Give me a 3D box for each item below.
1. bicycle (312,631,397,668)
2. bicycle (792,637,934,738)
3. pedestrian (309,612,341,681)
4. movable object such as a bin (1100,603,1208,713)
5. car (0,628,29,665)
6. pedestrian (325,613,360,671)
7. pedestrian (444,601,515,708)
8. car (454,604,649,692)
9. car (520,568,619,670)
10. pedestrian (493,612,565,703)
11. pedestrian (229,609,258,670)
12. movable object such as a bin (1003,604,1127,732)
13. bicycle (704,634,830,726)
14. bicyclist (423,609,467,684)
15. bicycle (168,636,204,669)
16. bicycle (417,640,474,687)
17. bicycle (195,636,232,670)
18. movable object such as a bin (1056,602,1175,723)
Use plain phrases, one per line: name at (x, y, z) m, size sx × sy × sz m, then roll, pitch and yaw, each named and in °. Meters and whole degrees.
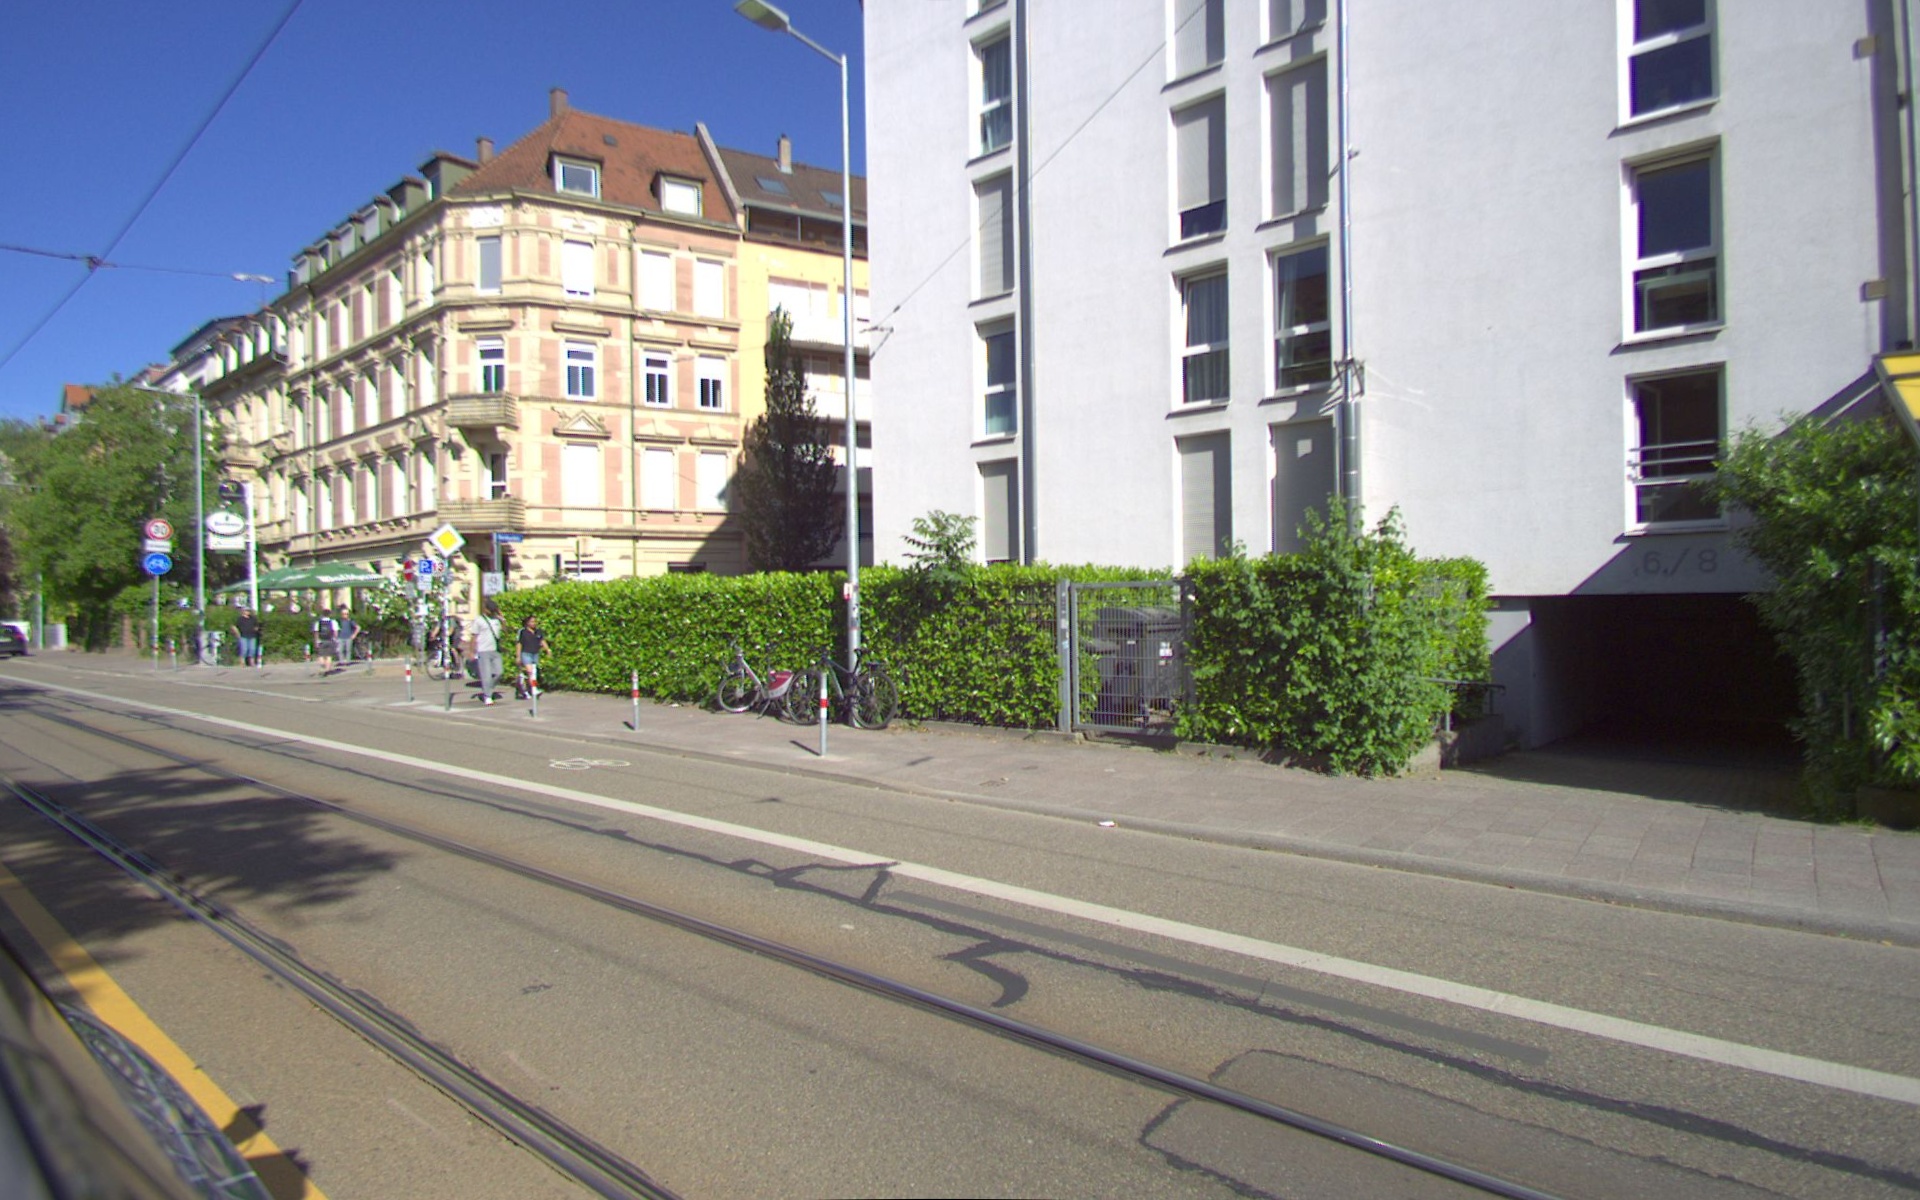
bicycle at (-19.265, 1.559, 32.233) m, size 2.212 × 1.052 × 0.877 m, roll -1°, pitch 1°, yaw -41°
bicycle at (-1.247, 1.061, 12.744) m, size 1.839 × 1.097 × 0.655 m, roll 0°, pitch 3°, yaw 41°
pedestrian at (-16.770, 1.209, 26.737) m, size 0.682 × 1.781 × 0.868 m, roll -1°, pitch -1°, yaw -33°
movable object such as a bin at (2.721, 0.787, 14.226) m, size 1.257 × 1.467 × 0.799 m, roll -2°, pitch -1°, yaw 39°
car at (-43.832, 2.082, 45.856) m, size 4.585 × 1.588 × 1.845 m, roll -1°, pitch -2°, yaw 40°
pedestrian at (-18.341, 1.237, 30.083) m, size 0.694 × 1.667 × 0.835 m, roll 0°, pitch 1°, yaw -18°
pedestrian at (-8.100, 0.899, 17.048) m, size 0.808 × 1.726 × 0.747 m, roll -2°, pitch 1°, yaw 41°
car at (-9.437, 1.045, 23.431) m, size 3.984 × 1.820 × 1.797 m, roll -1°, pitch 1°, yaw -29°
car at (-11.997, 0.515, 30.918) m, size 1.861 × 2.862 × 4.797 m, roll 0°, pitch 1°, yaw -33°
pedestrian at (-7.473, 0.980, 17.541) m, size 0.956 × 1.489 × 0.747 m, roll -2°, pitch 1°, yaw 41°
pedestrian at (-21.416, 1.161, 30.254) m, size 0.538 × 1.795 × 0.552 m, roll -1°, pitch 0°, yaw 37°
movable object such as a bin at (1.275, 0.794, 12.308) m, size 1.257 × 1.467 × 0.799 m, roll -2°, pitch -1°, yaw 39°
bicycle at (-2.678, 1.066, 13.945) m, size 1.839 × 1.097 × 0.655 m, roll 0°, pitch 3°, yaw 41°
bicyclist at (-13.148, 1.166, 25.881) m, size 0.696 × 1.867 × 0.987 m, roll 0°, pitch 1°, yaw -7°
bicycle at (-25.631, 1.714, 33.502) m, size 2.221 × 1.046 × 0.508 m, roll -1°, pitch 0°, yaw 41°
bicycle at (-13.155, 1.607, 25.921) m, size 0.696 × 1.063 × 1.838 m, roll 0°, pitch 1°, yaw -7°
bicycle at (-22.815, 1.618, 30.908) m, size 1.776 × 0.988 × 0.522 m, roll -1°, pitch 0°, yaw 41°
movable object such as a bin at (1.988, 0.772, 12.949) m, size 1.257 × 1.467 × 0.799 m, roll -2°, pitch -1°, yaw 39°
